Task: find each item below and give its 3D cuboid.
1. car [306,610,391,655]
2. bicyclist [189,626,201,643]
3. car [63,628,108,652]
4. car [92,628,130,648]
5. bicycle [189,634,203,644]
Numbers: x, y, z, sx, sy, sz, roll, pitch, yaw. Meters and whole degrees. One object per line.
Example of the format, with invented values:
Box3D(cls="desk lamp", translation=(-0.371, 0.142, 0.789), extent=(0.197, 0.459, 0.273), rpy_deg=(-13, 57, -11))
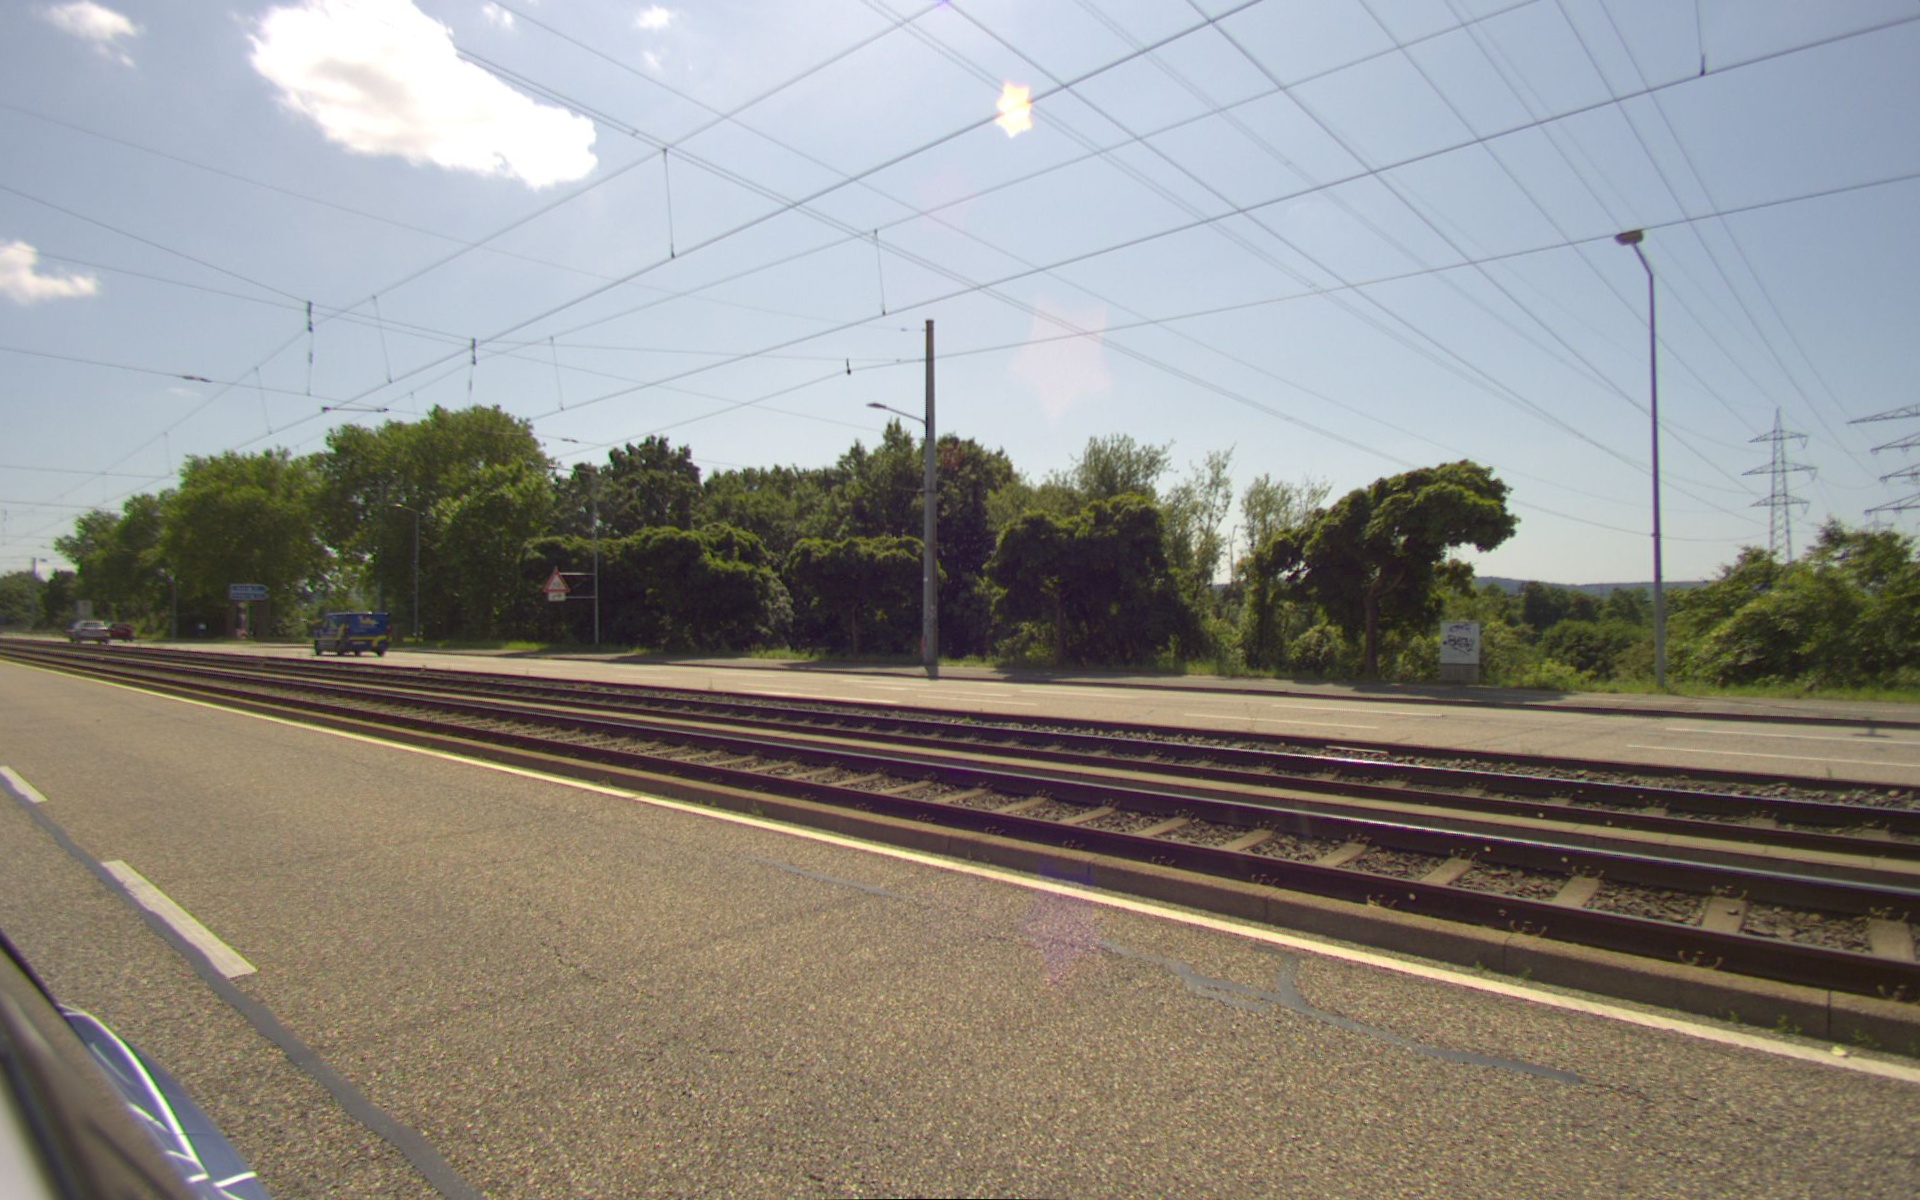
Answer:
Box3D(cls="car", translation=(-27.857, 1.490, 46.041), extent=(5.006, 1.942, 1.837), rpy_deg=(-1, -3, 42))
Box3D(cls="bicyclist", translation=(-70.549, 3.175, 93.357), extent=(1.159, 1.529, 0.615), rpy_deg=(-1, -2, 41))
Box3D(cls="car", translation=(-62.668, 2.839, 72.526), extent=(4.492, 1.638, 1.782), rpy_deg=(-1, -3, 41))
Box3D(cls="car", translation=(-71.078, 3.170, 84.700), extent=(4.209, 1.638, 1.782), rpy_deg=(-1, -3, 41))
Box3D(cls="bicycle", translation=(-70.503, 3.596, 93.348), extent=(2.090, 0.946, 0.615), rpy_deg=(-1, -2, 41))
